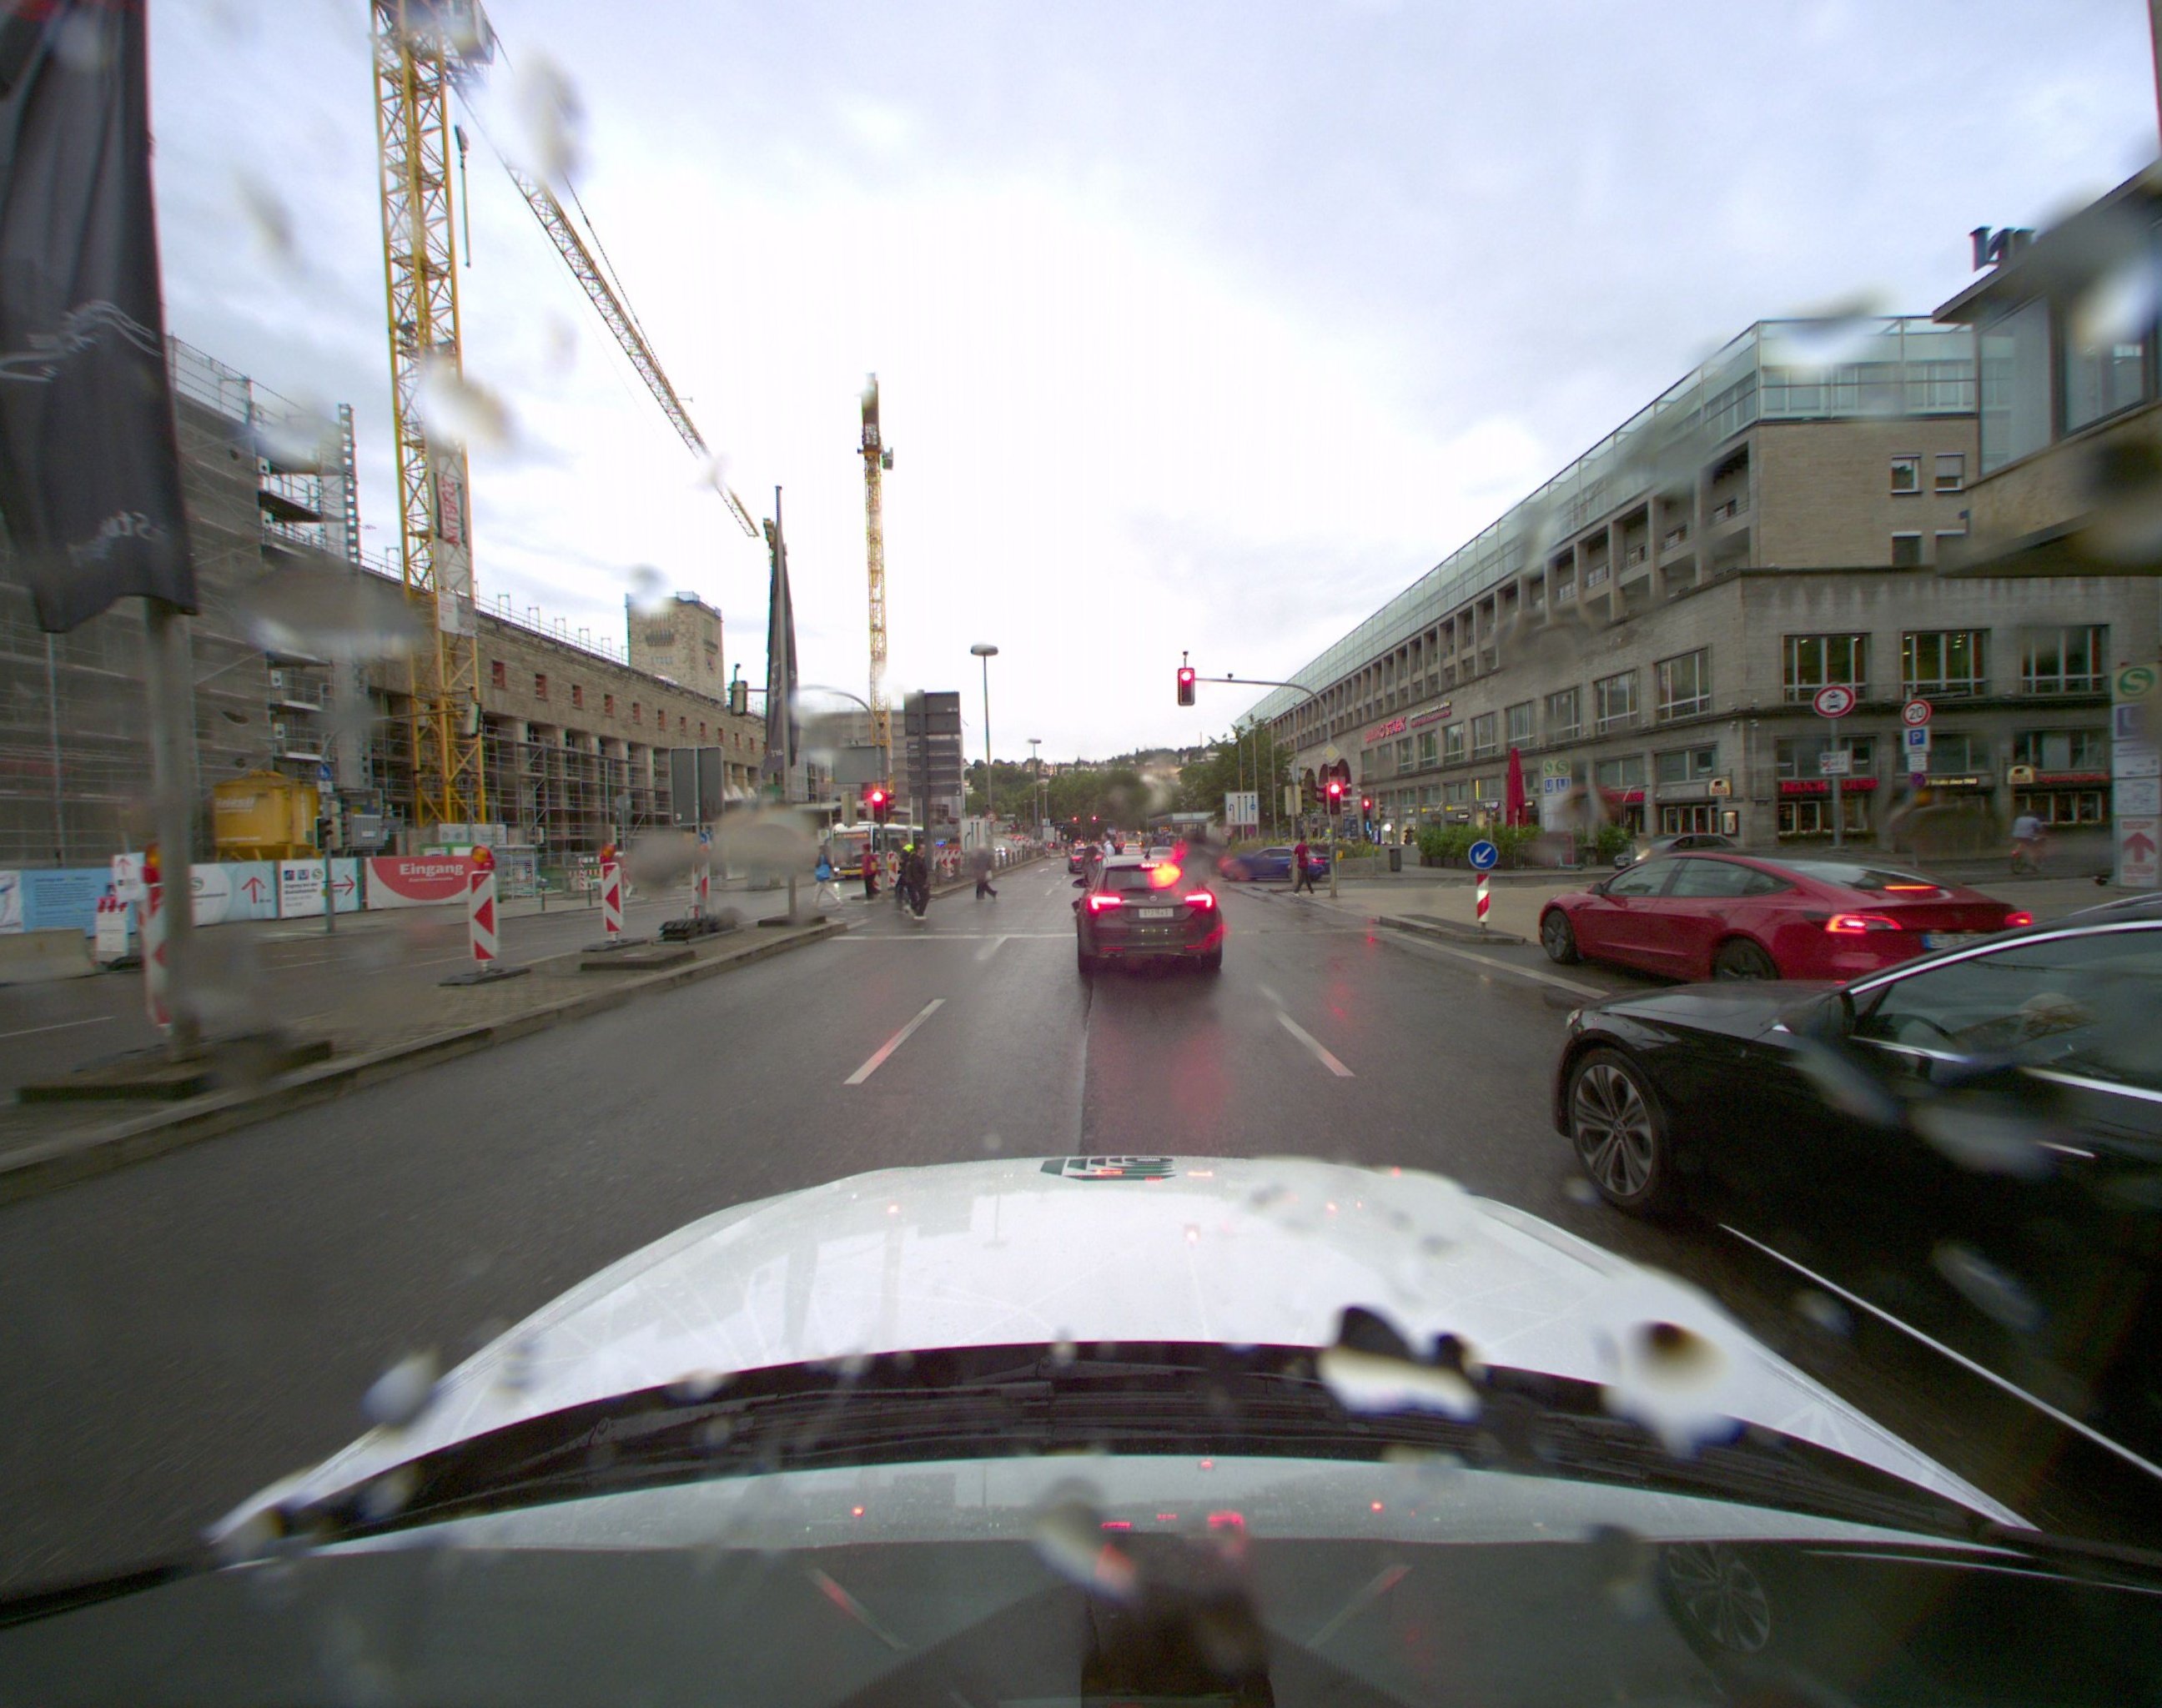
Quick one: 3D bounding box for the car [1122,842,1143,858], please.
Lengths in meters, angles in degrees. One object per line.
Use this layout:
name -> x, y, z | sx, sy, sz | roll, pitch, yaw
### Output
car -> 4.780, -0.354, 75.772 | 1.838, 1.398, 3.565 | -1, 0, 2

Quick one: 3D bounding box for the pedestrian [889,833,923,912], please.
pedestrian -> -4.175, 0.436, 19.457 | 0.576, 1.836, 0.820 | -1, 0, 2

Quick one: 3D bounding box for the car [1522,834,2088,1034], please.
car -> 6.641, 0.598, 8.357 | 1.868, 1.486, 4.528 | -1, 0, 1

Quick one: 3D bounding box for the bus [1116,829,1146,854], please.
bus -> 7.520, -1.789, 124.371 | 4.158, 3.469, 14.660 | -1, 0, 2

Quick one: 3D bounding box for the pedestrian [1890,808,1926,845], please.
pedestrian -> 34.764, -1.136, 34.235 | 0.755, 1.512, 0.716 | -1, 0, -3

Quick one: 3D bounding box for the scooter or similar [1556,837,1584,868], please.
scooter or similar -> 19.528, -0.060, 32.537 | 0.290, 1.189, 1.014 | 0, 0, -16

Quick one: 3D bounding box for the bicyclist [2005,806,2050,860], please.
bicyclist -> 27.473, -0.593, 23.648 | 0.717, 1.540, 0.609 | 0, 0, -17

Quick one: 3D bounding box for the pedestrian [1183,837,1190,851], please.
pedestrian -> 12.643, -1.234, 97.597 | 0.761, 1.690, 0.824 | -1, 0, -3

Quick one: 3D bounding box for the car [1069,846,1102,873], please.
car -> 0.272, 0.271, 45.179 | 1.747, 1.398, 4.538 | -1, 0, 1

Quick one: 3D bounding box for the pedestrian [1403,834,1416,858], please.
pedestrian -> 26.792, -0.647, 66.418 | 0.760, 2.013, 0.825 | -1, 0, 2

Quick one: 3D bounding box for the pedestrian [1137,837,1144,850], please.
pedestrian -> 10.852, -1.918, 148.677 | 1.194, 2.435, 1.229 | -1, 0, 3

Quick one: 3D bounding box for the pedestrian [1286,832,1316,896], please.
pedestrian -> 6.184, 0.280, 22.889 | 0.563, 1.752, 0.684 | -1, 0, 44

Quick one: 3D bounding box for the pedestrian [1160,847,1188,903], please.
pedestrian -> 2.453, 0.556, 21.537 | 0.677, 1.474, 0.366 | 0, 0, -3

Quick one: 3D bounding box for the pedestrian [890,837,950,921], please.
pedestrian -> -3.509, 0.536, 17.799 | 1.093, 1.751, 0.653 | -4, 0, -1

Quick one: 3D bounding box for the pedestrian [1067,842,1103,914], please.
pedestrian -> 0.089, 0.543, 18.845 | 0.791, 1.626, 0.899 | -1, 0, -2

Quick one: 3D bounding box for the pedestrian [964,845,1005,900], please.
pedestrian -> -2.775, 0.516, 23.385 | 0.880, 1.561, 0.777 | 0, 0, -42

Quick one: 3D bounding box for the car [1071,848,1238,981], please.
car -> 0.883, 0.682, 11.186 | 1.868, 1.486, 4.001 | -1, 0, 1

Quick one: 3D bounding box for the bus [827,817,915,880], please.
bus -> -13.195, -0.317, 52.304 | 2.658, 3.602, 10.244 | -1, 0, 2

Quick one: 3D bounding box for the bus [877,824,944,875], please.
bus -> -12.857, -0.323, 62.489 | 2.658, 3.602, 10.216 | -1, 0, 2

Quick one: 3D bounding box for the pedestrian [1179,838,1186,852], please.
pedestrian -> 12.326, -1.143, 98.751 | 0.761, 1.690, 0.824 | -1, 0, -3

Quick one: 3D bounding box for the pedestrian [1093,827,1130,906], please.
pedestrian -> 0.730, 0.299, 19.831 | 0.798, 1.890, 0.618 | 0, 0, -7

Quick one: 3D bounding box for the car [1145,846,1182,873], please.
car -> 4.507, 0.272, 45.121 | 1.746, 1.398, 4.404 | -1, 0, 2

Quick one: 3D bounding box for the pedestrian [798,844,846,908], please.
pedestrian -> -6.515, 0.537, 20.543 | 0.912, 1.563, 0.899 | -1, 0, -2

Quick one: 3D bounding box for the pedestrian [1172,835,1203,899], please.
pedestrian -> 2.886, 0.345, 22.155 | 0.753, 1.717, 0.466 | -1, 0, -2

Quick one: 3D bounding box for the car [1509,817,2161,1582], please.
car -> 3.019, 0.670, 1.855 | 1.786, 1.501, 4.631 | -1, 0, 2

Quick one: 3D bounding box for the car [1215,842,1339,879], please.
car -> 7.887, 0.244, 33.019 | 4.589, 1.398, 1.770 | -1, 0, 39

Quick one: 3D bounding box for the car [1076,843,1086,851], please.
car -> 0.024, -1.306, 153.786 | 1.752, 1.398, 3.565 | -1, 0, 2

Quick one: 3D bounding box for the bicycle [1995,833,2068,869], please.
bicycle -> 27.680, -0.087, 23.714 | 2.213, 1.009, 0.589 | -1, 0, -18

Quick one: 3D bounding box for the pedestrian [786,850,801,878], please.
pedestrian -> -19.428, 0.701, 55.018 | 0.659, 1.855, 0.799 | -2, 0, 2

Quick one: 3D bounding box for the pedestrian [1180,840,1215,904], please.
pedestrian -> 3.014, 0.456, 21.044 | 0.797, 1.608, 0.619 | -1, 0, -2

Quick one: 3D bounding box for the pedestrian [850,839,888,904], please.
pedestrian -> -5.794, 0.466, 22.330 | 0.797, 1.717, 0.619 | -3, 0, -2

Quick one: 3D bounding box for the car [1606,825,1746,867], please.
car -> 21.261, -0.280, 29.201 | 3.638, 1.398, 1.854 | -1, 0, 4
